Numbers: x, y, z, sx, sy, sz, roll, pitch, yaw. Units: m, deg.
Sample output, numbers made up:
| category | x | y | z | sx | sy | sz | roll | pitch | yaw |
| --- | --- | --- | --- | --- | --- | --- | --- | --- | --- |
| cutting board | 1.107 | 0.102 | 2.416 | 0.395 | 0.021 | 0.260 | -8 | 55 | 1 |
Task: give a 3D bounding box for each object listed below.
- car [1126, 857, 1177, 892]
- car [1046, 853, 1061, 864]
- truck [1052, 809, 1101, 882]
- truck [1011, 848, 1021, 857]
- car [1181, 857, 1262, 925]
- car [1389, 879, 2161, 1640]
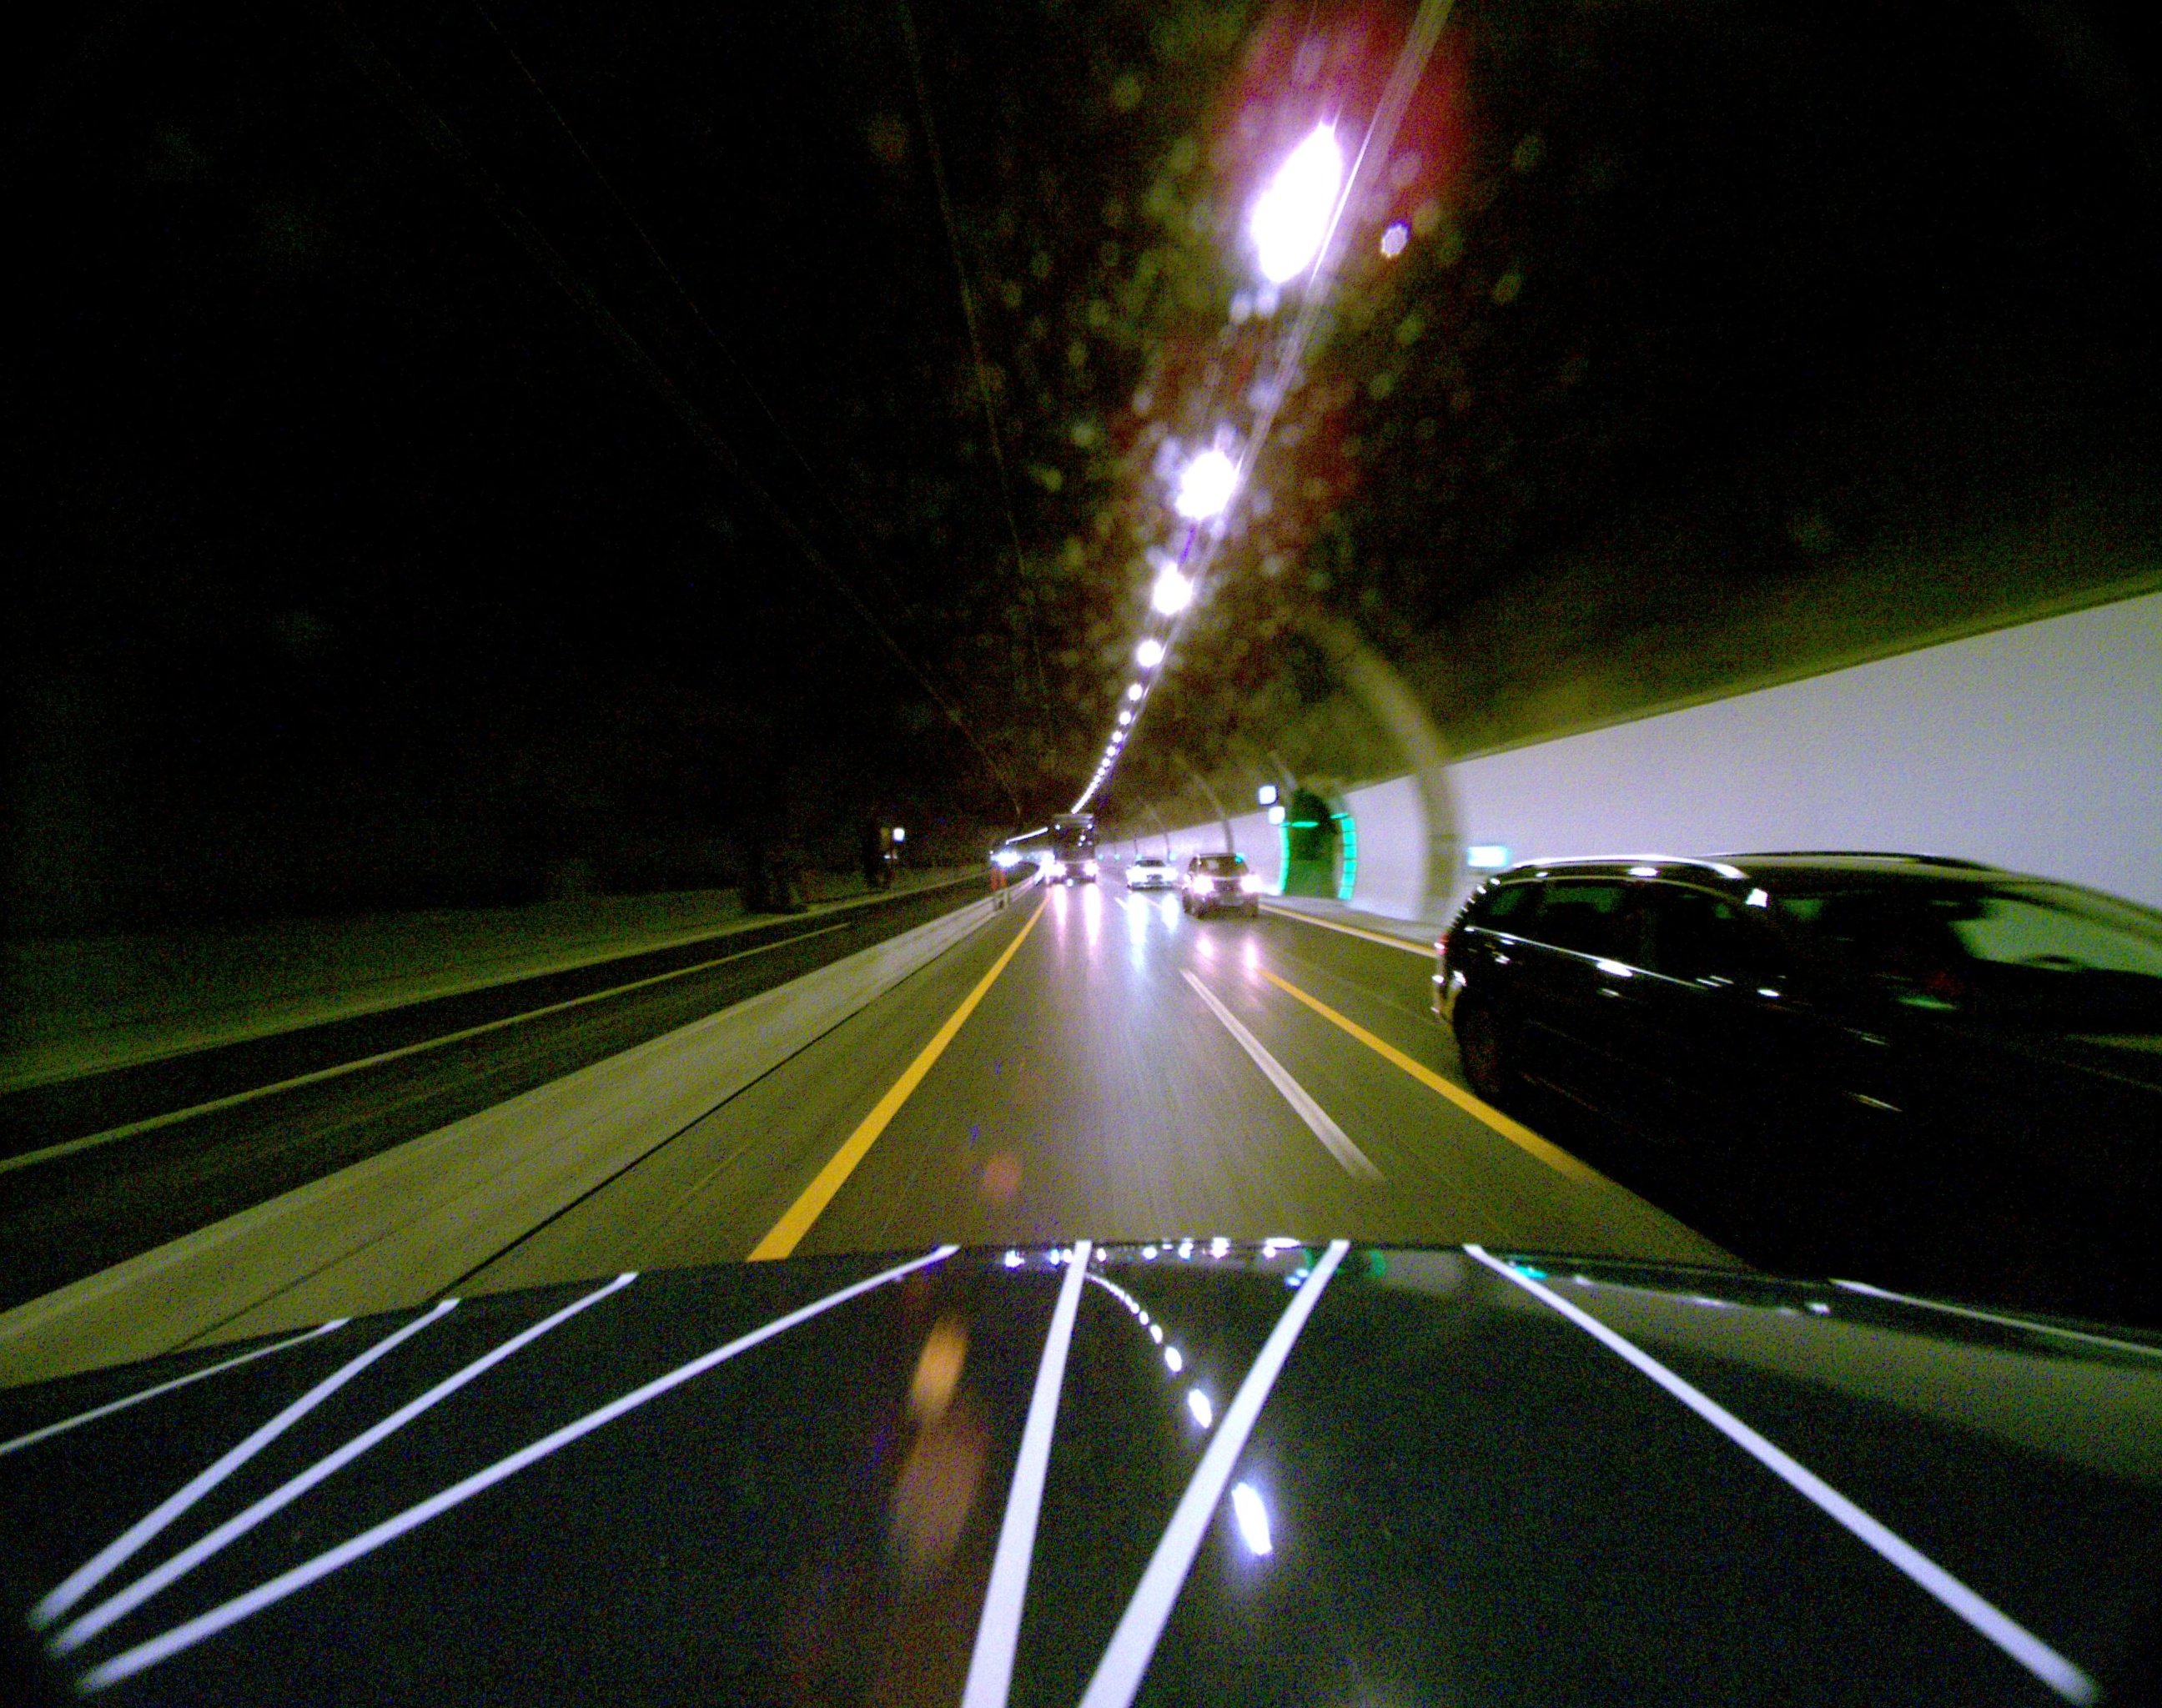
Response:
| category | x | y | z | sx | sy | sz | roll | pitch | yaw |
| --- | --- | --- | --- | --- | --- | --- | --- | --- | --- |
| car | 3.131 | 0.890 | 34.503 | 1.909 | 1.412 | 4.060 | -1 | 0 | 0 |
| car | -4.127 | 0.695 | 113.033 | 1.999 | 1.524 | 3.998 | -2 | 0 | -4 |
| truck | -0.230 | -0.511 | 47.992 | 2.742 | 4.127 | 8.100 | -1 | 0 | 0 |
| truck | -20.187 | -0.547 | 236.649 | 2.611 | 2.723 | 6.393 | -2 | 0 | -8 |
| car | 3.419 | 0.855 | 18.867 | 1.531 | 1.508 | 2.652 | -1 | 0 | 1 |
| car | 3.161 | 0.924 | 3.123 | 1.782 | 1.430 | 4.882 | -2 | 0 | 0 |
